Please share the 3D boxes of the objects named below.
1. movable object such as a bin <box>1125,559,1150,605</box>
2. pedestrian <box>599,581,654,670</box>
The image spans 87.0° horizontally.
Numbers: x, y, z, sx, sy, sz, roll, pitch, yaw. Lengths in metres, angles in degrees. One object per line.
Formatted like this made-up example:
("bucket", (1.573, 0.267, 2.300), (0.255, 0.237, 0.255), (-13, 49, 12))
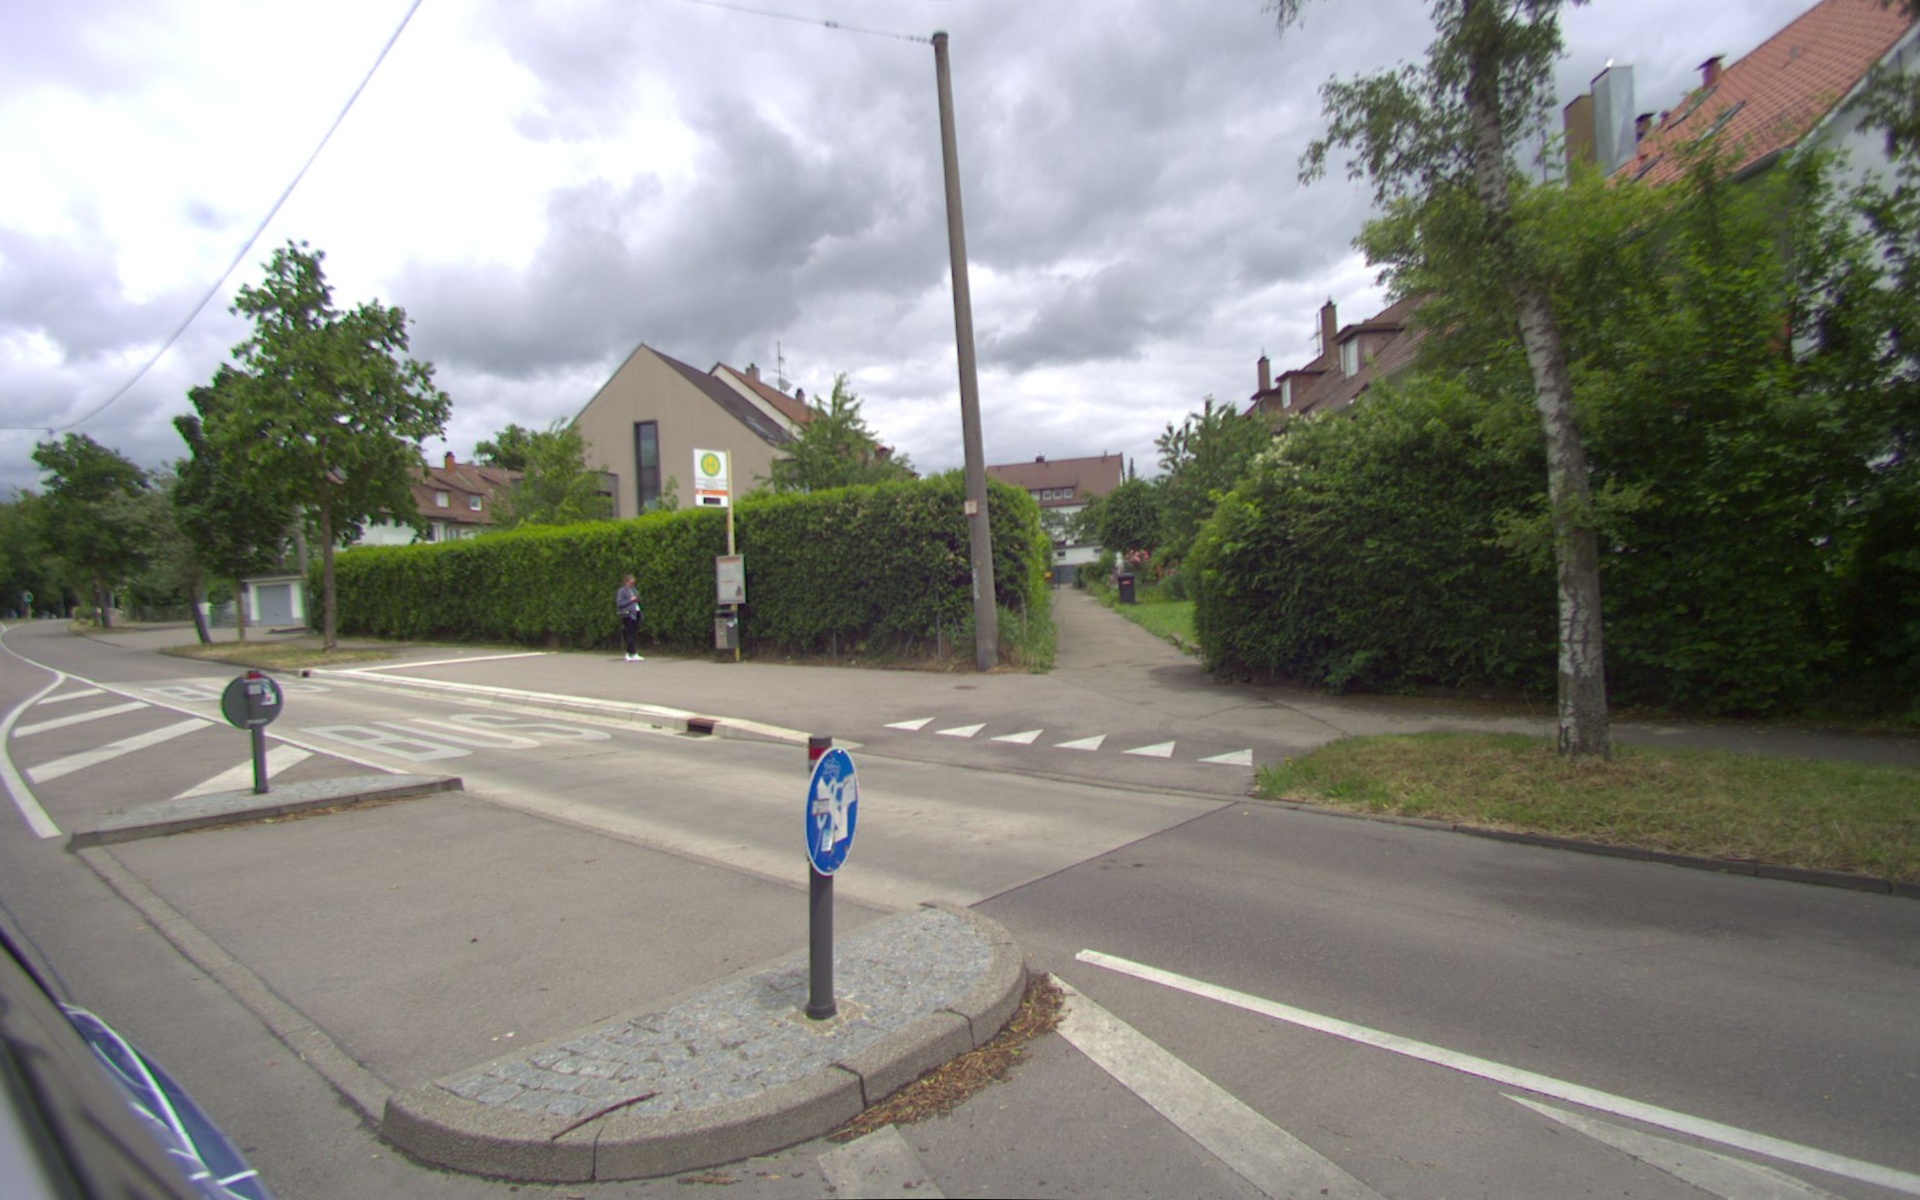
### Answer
("movable object such as a bin", (7.287, -0.736, 41.619), (0.810, 1.847, 1.010), (-2, 0, -1))
("pedestrian", (-6.625, 0.501, 20.101), (0.777, 1.723, 0.685), (-1, 0, 36))
